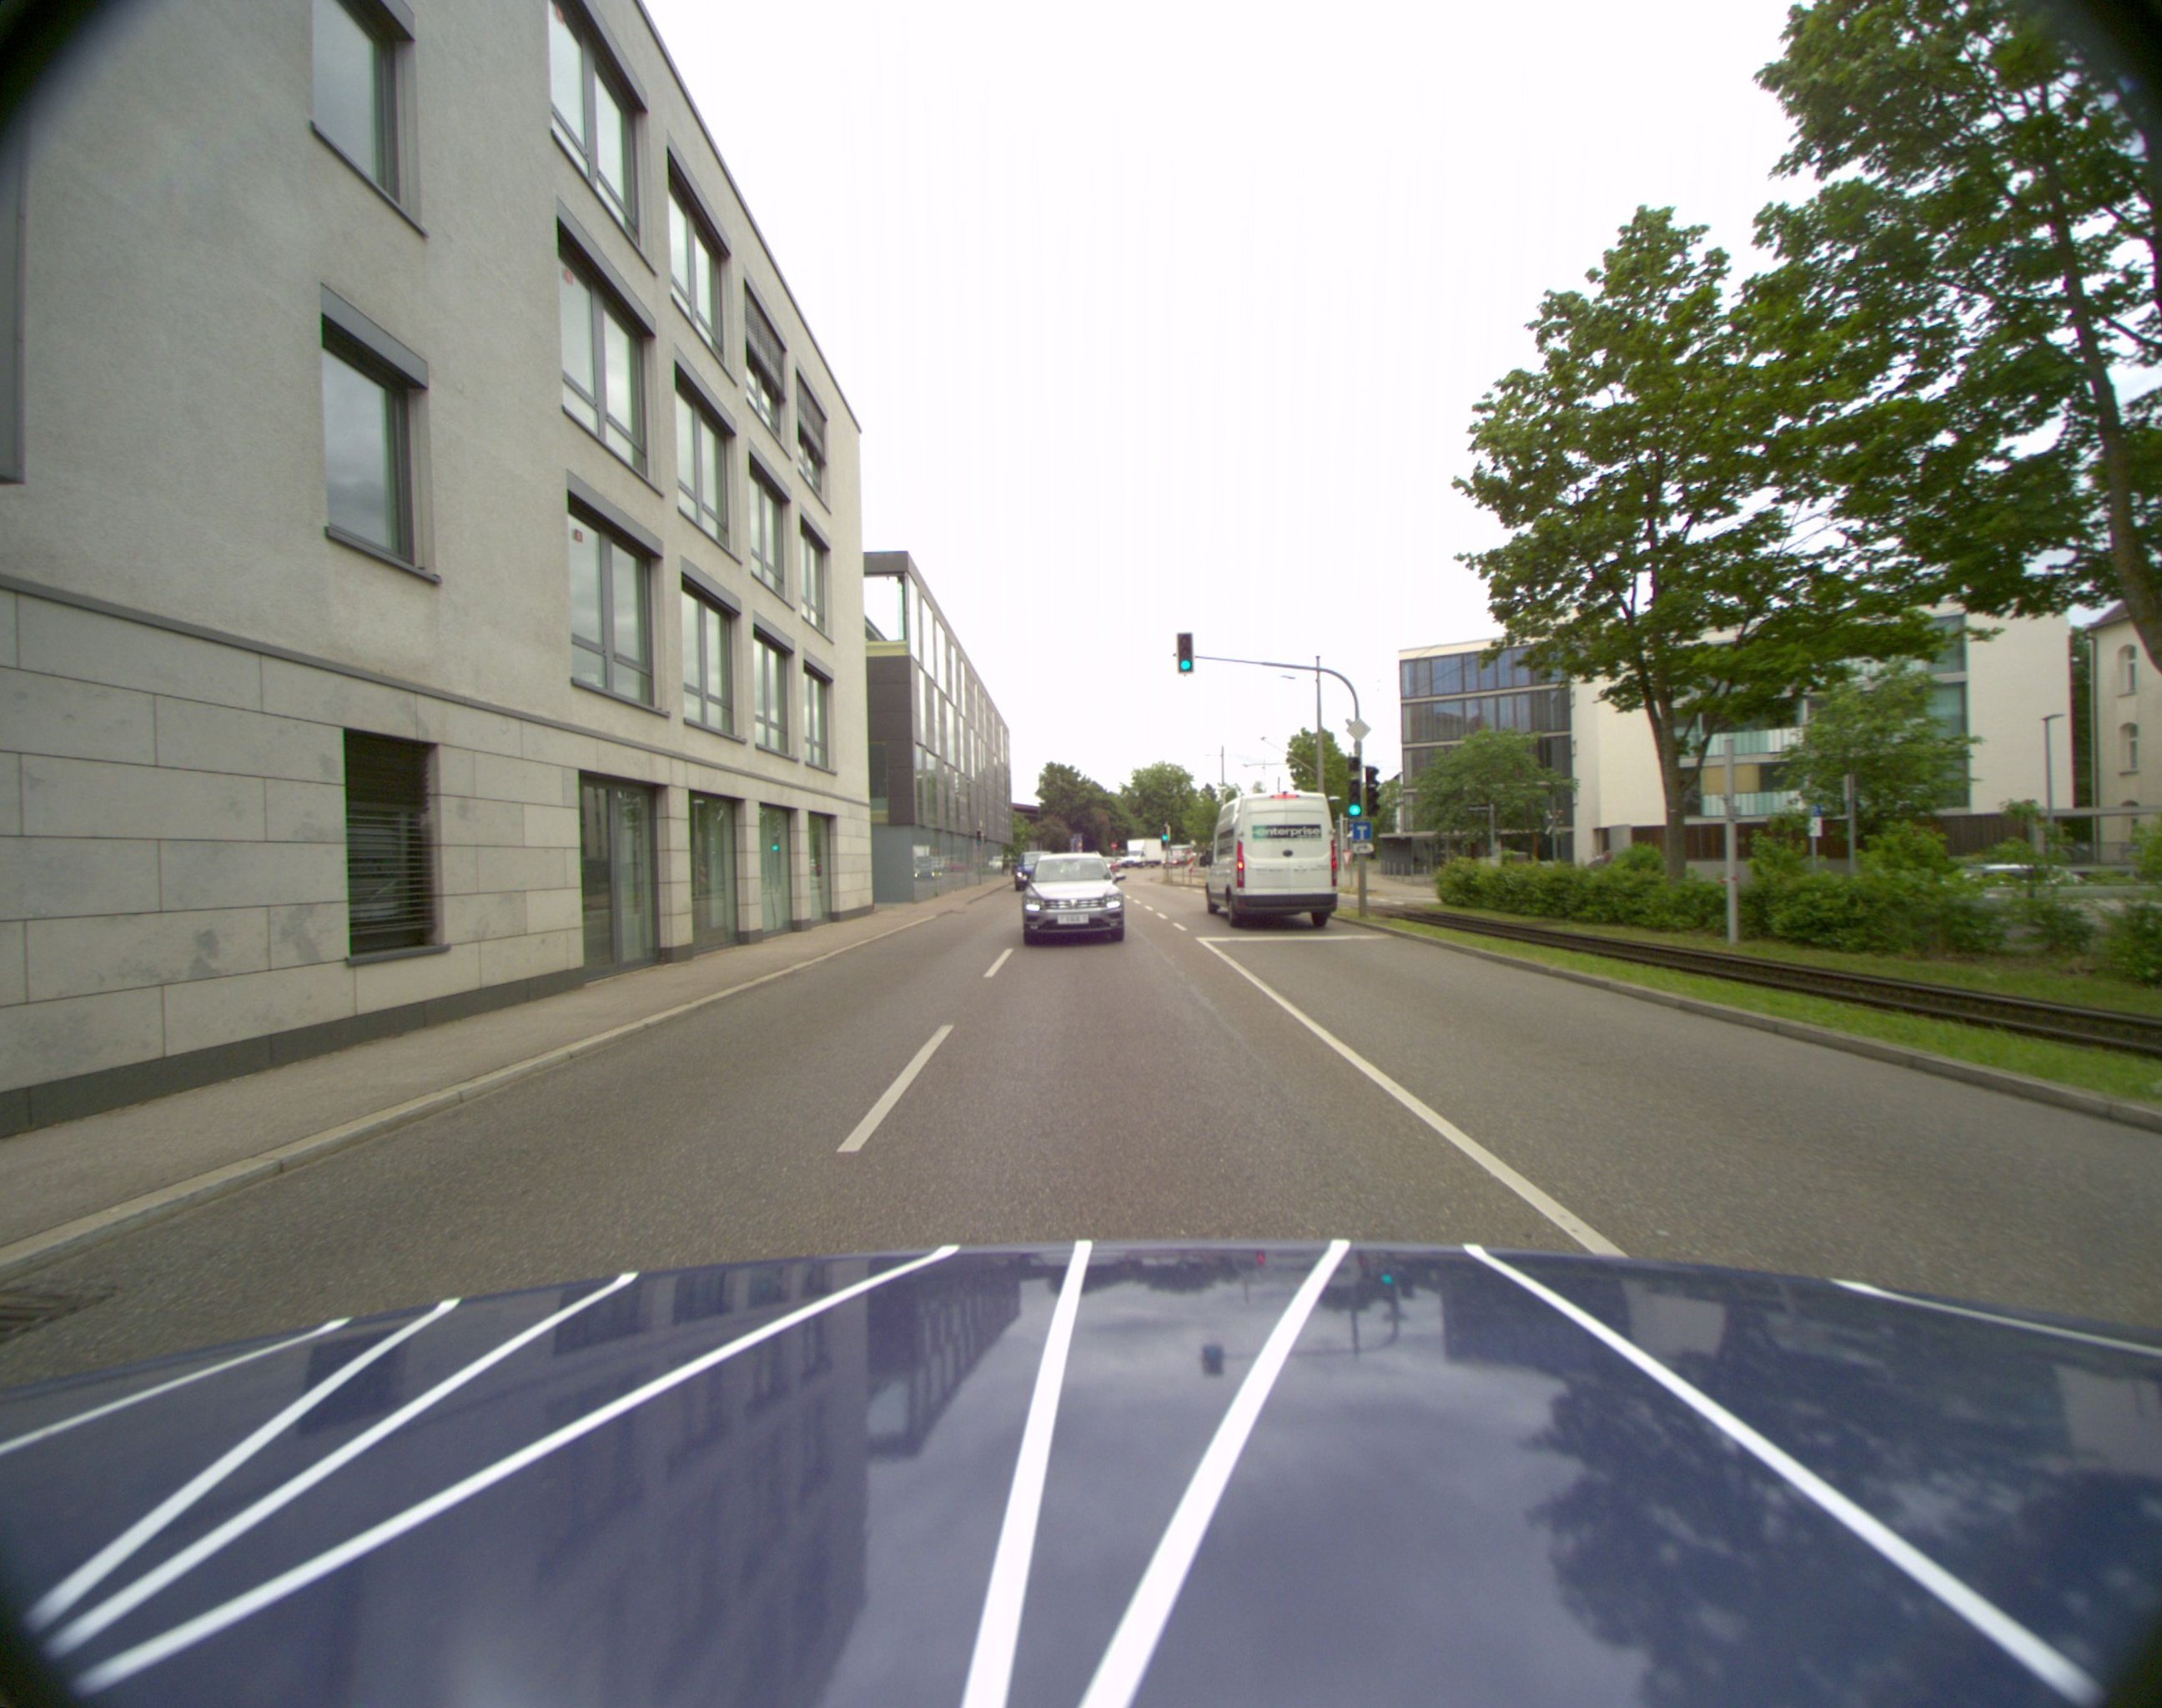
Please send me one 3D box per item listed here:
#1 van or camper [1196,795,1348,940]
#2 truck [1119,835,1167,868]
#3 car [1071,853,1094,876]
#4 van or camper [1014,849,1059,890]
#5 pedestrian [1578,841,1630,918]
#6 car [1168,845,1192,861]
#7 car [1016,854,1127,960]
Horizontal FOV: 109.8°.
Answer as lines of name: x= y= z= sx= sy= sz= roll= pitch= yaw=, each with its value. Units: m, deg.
van or camper: x=4.151 y=0.231 z=17.748 sx=2.112 sy=2.718 sz=6.152 roll=-2 pitch=1 yaw=2
truck: x=7.560 y=-0.386 z=91.061 sx=2.317 sy=3.626 sz=8.024 roll=-2 pitch=1 yaw=31
car: x=0.166 y=0.940 z=69.726 sx=1.998 sy=2.002 sz=4.000 roll=-2 pitch=1 yaw=1
van or camper: x=-2.179 y=0.722 z=38.701 sx=1.864 sy=1.900 sz=5.032 roll=-1 pitch=0 yaw=1
pedestrian: x=12.553 y=0.601 z=18.244 sx=0.680 sy=1.795 sz=0.731 roll=-2 pitch=1 yaw=-4
car: x=13.341 y=-0.138 z=102.159 sx=1.995 sy=2.002 sz=4.006 roll=-2 pitch=1 yaw=24
car: x=-0.126 y=0.885 z=14.833 sx=1.798 sy=1.716 sz=4.458 roll=-1 pitch=0 yaw=1
